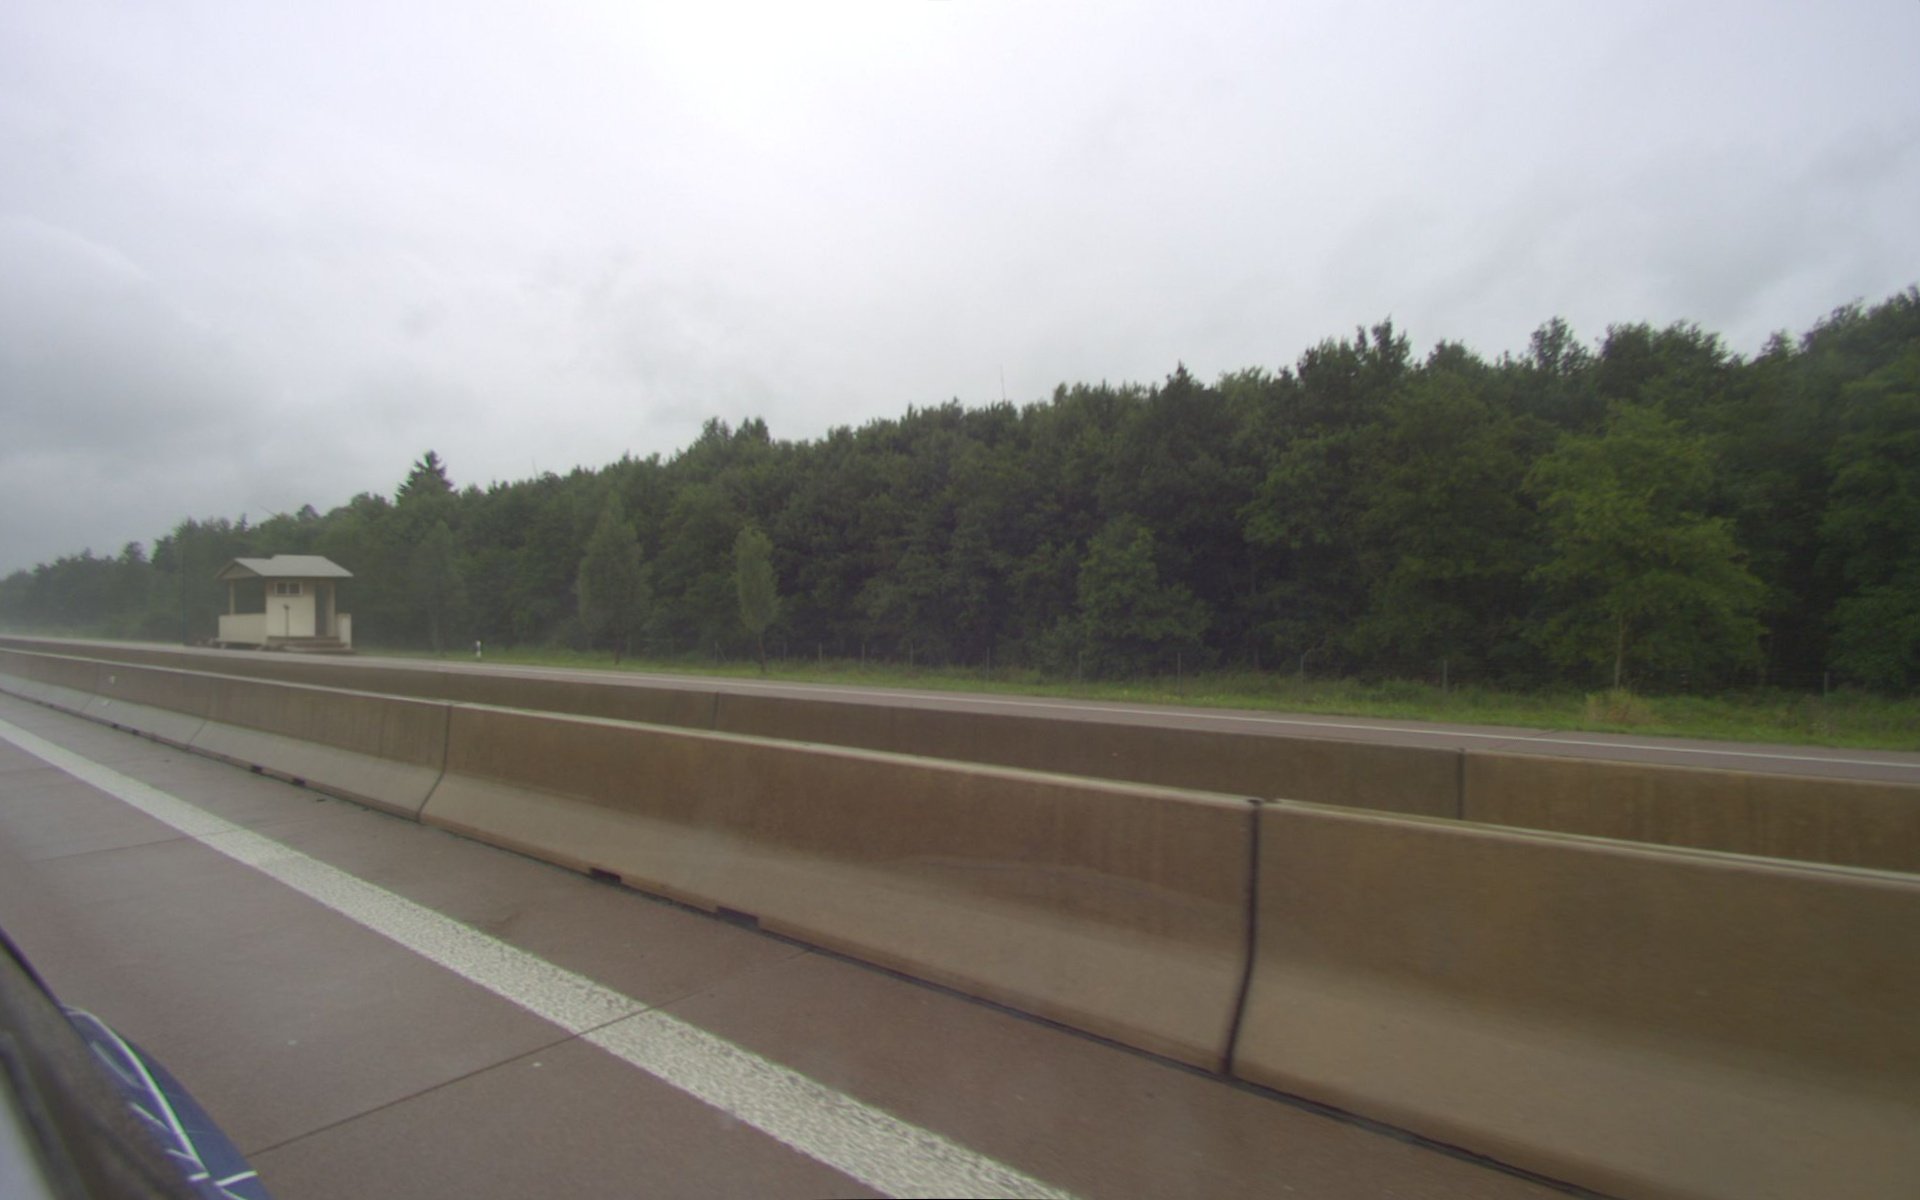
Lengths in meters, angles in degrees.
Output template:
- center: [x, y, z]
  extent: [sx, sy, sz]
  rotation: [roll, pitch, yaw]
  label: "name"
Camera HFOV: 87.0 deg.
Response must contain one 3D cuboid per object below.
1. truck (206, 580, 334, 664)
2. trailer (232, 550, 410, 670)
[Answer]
- center: [-34.910, 1.046, 51.126]
  extent: [7.458, 3.918, 3.438]
  rotation: [-1, 0, 40]
  label: "truck"
- center: [-29.838, 0.456, 46.871]
  extent: [12.436, 4.903, 3.395]
  rotation: [-1, 0, 40]
  label: "trailer"
